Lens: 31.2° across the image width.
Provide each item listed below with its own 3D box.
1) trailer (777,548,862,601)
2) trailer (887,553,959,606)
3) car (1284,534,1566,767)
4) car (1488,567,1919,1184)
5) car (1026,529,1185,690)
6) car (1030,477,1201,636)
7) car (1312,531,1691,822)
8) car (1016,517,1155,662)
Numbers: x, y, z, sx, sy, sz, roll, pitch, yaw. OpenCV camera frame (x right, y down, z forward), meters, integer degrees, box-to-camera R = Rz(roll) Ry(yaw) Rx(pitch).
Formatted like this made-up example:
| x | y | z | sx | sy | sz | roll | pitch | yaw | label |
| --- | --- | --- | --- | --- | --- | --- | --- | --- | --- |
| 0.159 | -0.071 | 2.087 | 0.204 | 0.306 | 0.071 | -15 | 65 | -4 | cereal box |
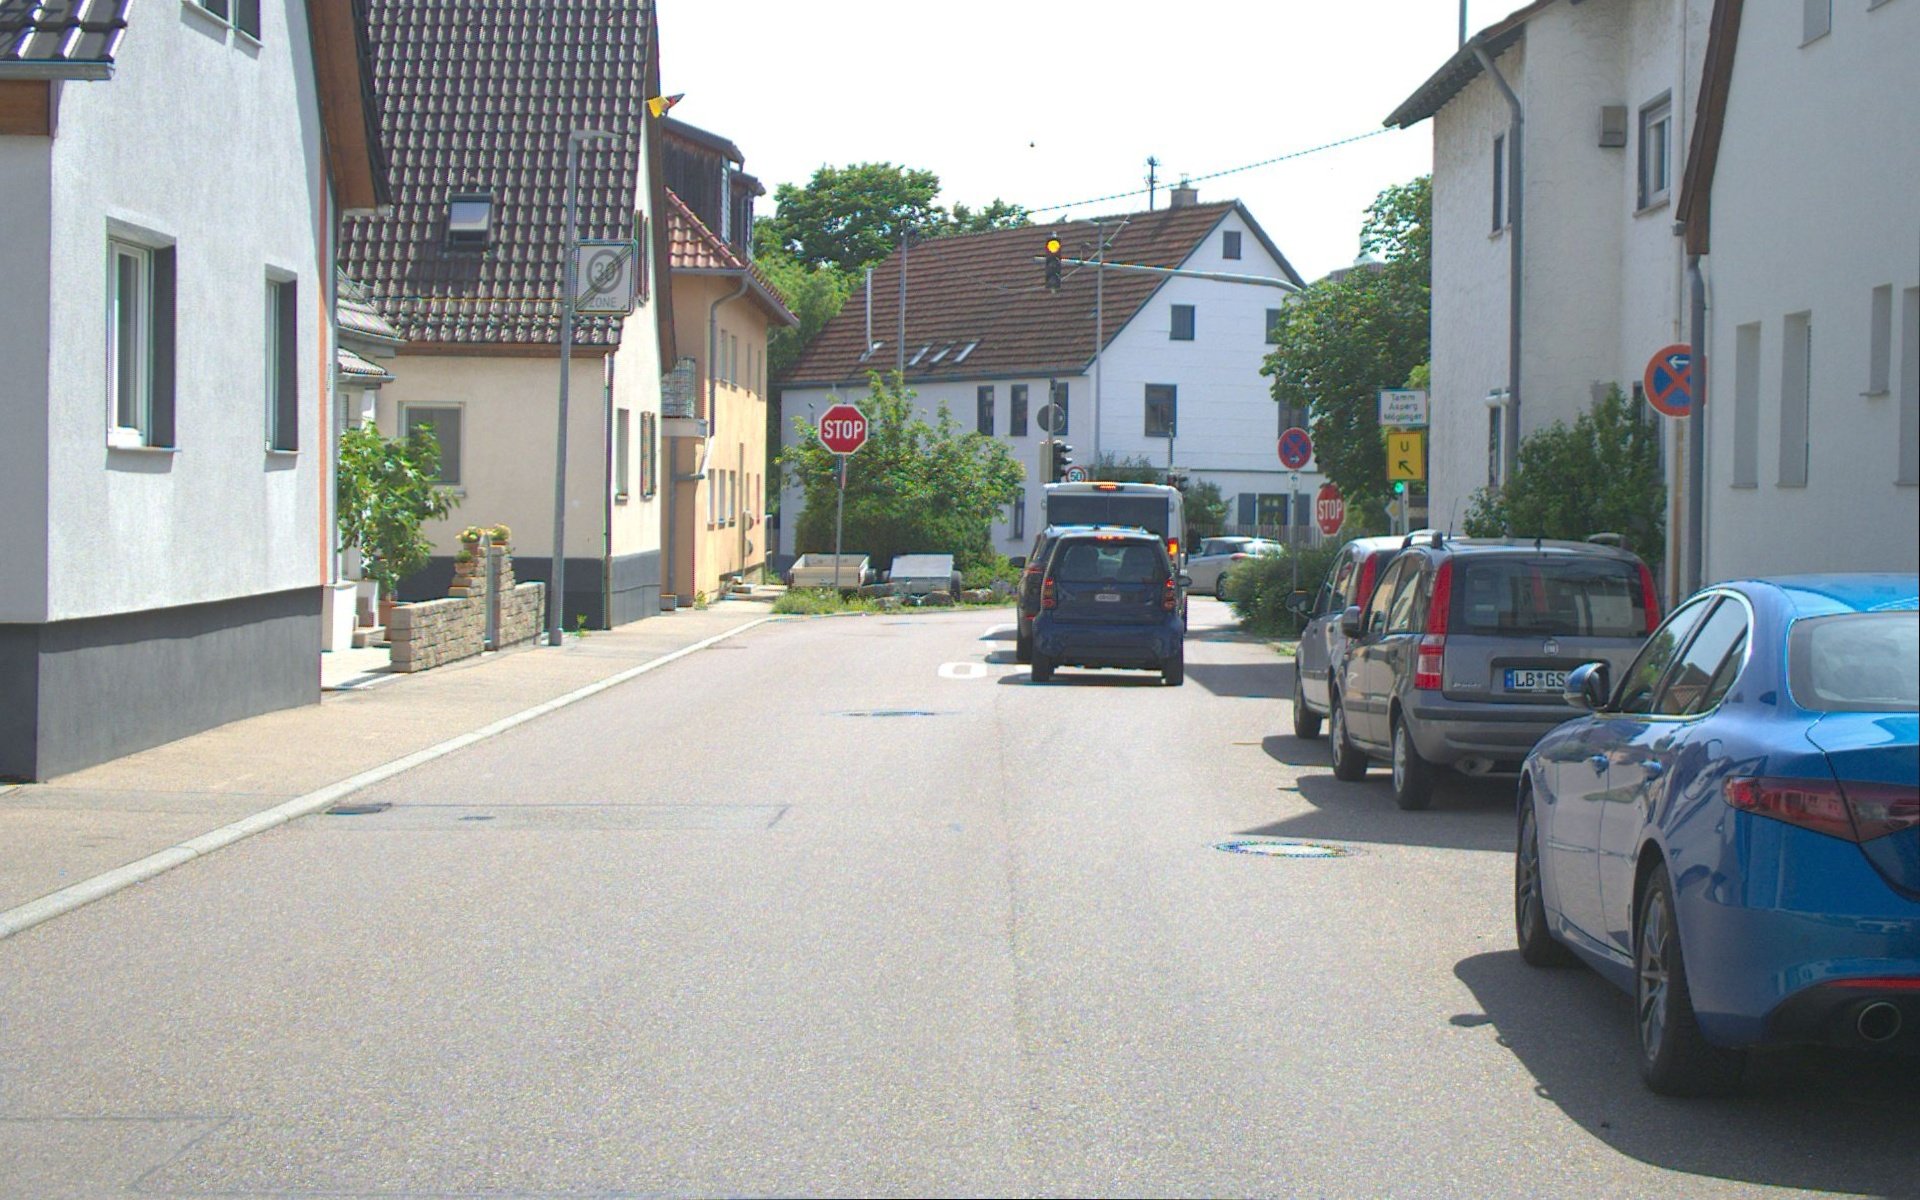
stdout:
| x | y | z | sx | sy | sz | roll | pitch | yaw | label |
| --- | --- | --- | --- | --- | --- | --- | --- | --- | --- |
| -2.675 | -0.492 | 65.437 | 1.502 | 0.924 | 1.012 | 3 | 1 | 2 | trailer |
| -0.698 | -0.398 | 65.239 | 1.311 | 0.967 | 0.933 | 1 | 1 | 2 | trailer |
| 3.258 | 0.306 | 24.599 | 1.498 | 1.508 | 3.362 | 1 | 1 | -1 | car |
| 2.798 | 0.657 | 10.522 | 1.763 | 1.419 | 4.592 | 1 | 1 | 2 | car |
| 1.545 | 0.062 | 35.691 | 1.516 | 1.561 | 3.184 | 2 | 1 | 4 | car |
| 2.303 | -0.653 | 49.692 | 2.129 | 2.151 | 4.735 | 1 | 1 | 7 | car |
| 3.117 | 0.382 | 20.390 | 1.567 | 1.540 | 3.450 | 1 | 1 | -2 | car |
| 1.509 | -0.155 | 40.450 | 1.516 | 1.619 | 3.184 | 1 | 1 | 4 | car |
